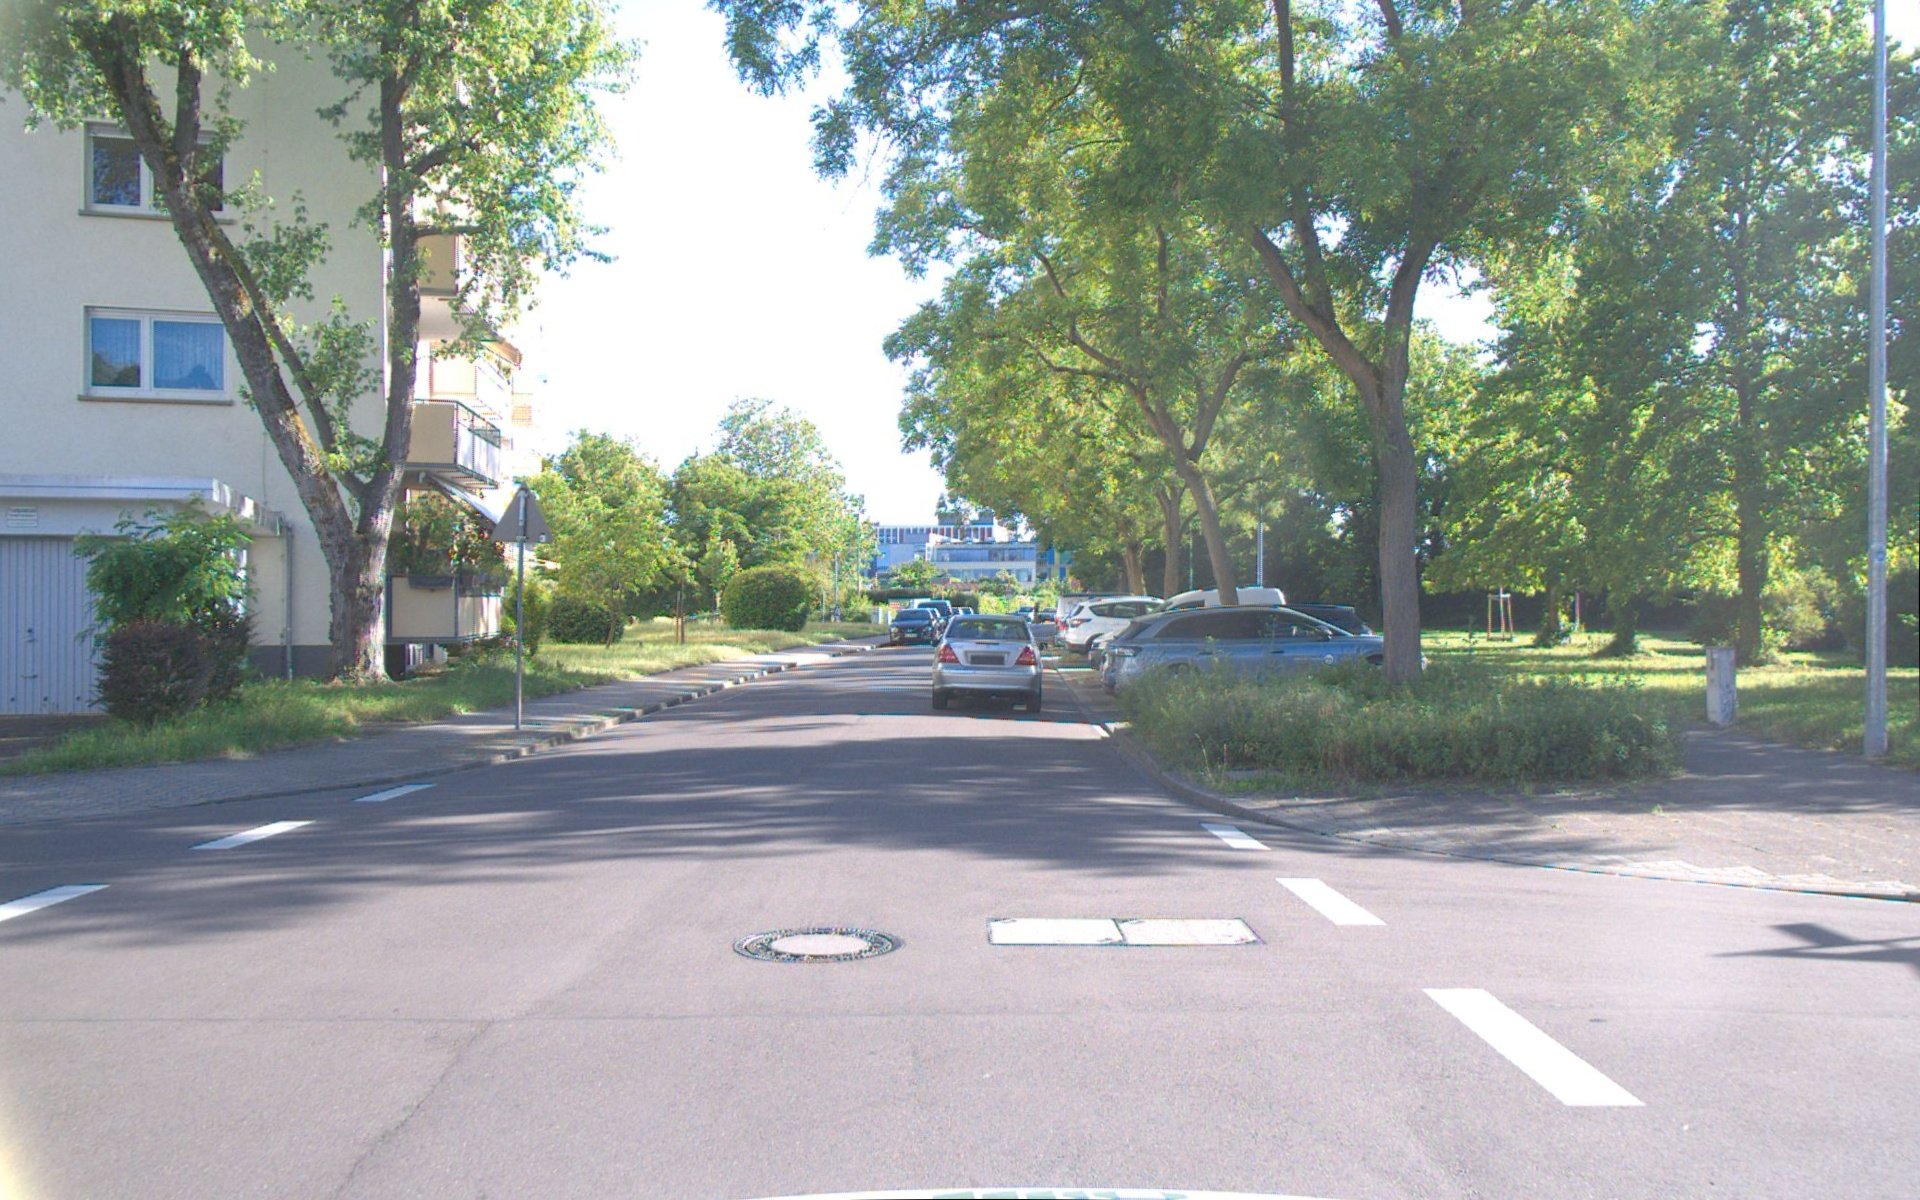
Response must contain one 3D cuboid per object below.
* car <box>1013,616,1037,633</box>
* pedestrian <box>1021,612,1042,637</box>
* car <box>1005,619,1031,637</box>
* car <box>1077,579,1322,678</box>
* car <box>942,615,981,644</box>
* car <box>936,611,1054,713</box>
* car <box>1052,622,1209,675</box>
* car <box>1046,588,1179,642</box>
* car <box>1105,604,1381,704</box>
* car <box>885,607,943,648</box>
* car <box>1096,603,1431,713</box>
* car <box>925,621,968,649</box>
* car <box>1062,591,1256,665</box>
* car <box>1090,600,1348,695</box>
[{"bbox_3d":[5.933,2.232,151.000,1.853,1.529,3.659,0,-1,8],"label":"car"},{"bbox_3d":[6.007,2.059,138.550,1.540,2.125,1.725,0,-1,10],"label":"pedestrian"},{"bbox_3d":[5.025,2.372,142.749,1.853,1.529,3.659,0,-1,8],"label":"car"},{"bbox_3d":[5.024,0.592,35.099,4.789,1.958,1.998,-1,-1,-5],"label":"car"},{"bbox_3d":[0.109,1.646,92.789,1.713,1.547,4.195,-1,-1,6],"label":"car"},{"bbox_3d":[0.514,0.929,25.625,1.697,1.459,3.438,0,-1,0],"label":"car"},{"bbox_3d":[5.389,1.544,52.764,4.785,1.656,1.999,0,-1,-1],"label":"car"},{"bbox_3d":[5.973,0.581,65.150,5.108,2.095,2.001,0,-1,4],"label":"car"},{"bbox_3d":[4.618,0.880,27.490,4.335,1.599,1.738,0,-1,2],"label":"car"},{"bbox_3d":[-1.849,1.121,67.639,1.873,1.516,3.839,-3,-1,5],"label":"car"},{"bbox_3d":[4.495,0.852,25.011,4.685,1.576,2.011,0,-1,-1],"label":"car"},{"bbox_3d":[-0.683,1.808,86.246,1.713,1.353,3.453,-3,-1,7],"label":"car"},{"bbox_3d":[5.061,0.709,42.547,4.782,1.754,2.001,-1,-1,2],"label":"car"},{"bbox_3d":[4.660,0.844,30.260,4.354,1.544,2.000,-2,-1,-1],"label":"car"}]
